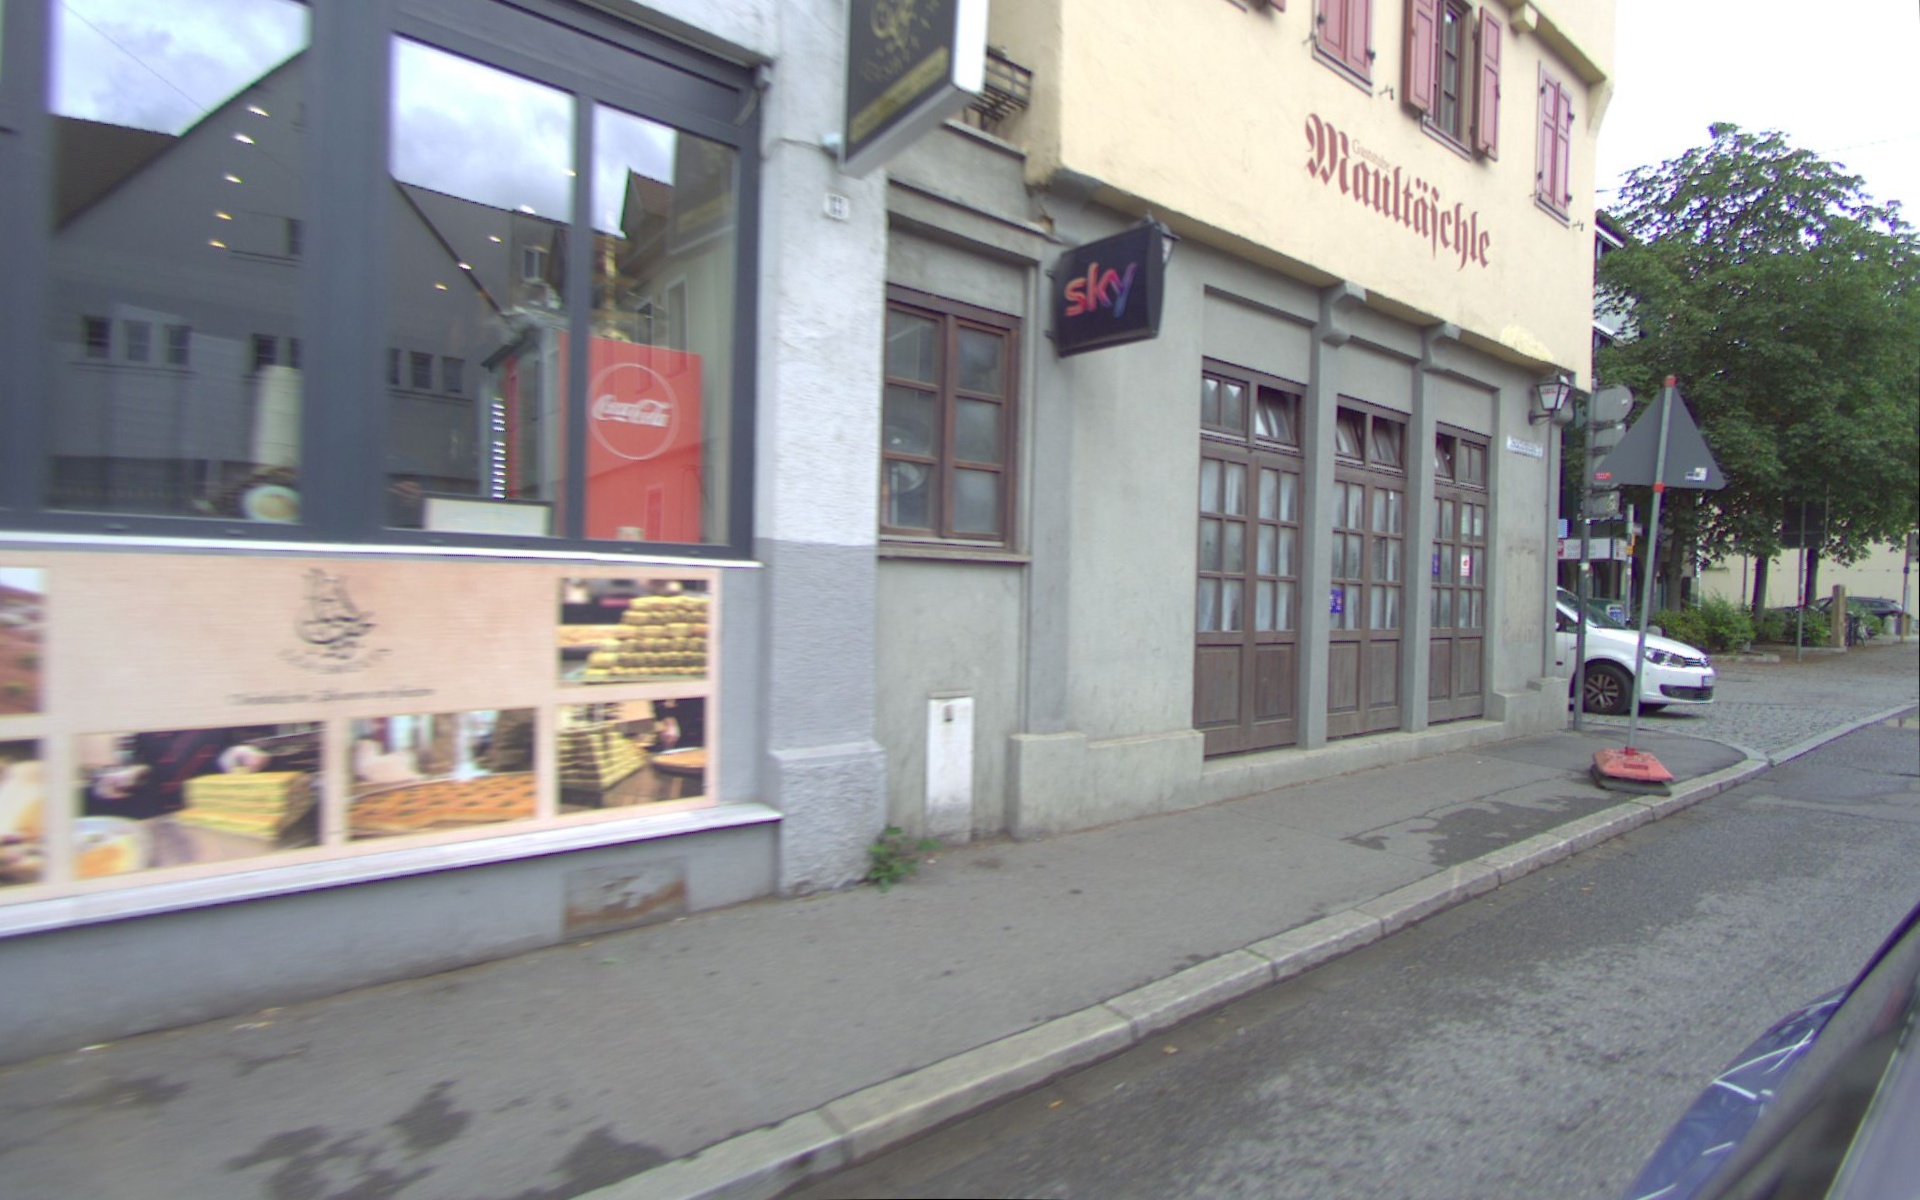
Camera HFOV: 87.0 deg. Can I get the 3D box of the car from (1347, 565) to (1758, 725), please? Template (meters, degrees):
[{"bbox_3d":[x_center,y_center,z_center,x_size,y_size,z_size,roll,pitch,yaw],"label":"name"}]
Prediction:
[{"bbox_3d":[7.915,0.438,13.904,1.964,1.809,4.464,-1,2,-39],"label":"car"}]

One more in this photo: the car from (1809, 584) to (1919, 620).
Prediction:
[{"bbox_3d":[39.077,0.056,43.219,1.963,1.482,3.999,-1,1,-36],"label":"car"}]
